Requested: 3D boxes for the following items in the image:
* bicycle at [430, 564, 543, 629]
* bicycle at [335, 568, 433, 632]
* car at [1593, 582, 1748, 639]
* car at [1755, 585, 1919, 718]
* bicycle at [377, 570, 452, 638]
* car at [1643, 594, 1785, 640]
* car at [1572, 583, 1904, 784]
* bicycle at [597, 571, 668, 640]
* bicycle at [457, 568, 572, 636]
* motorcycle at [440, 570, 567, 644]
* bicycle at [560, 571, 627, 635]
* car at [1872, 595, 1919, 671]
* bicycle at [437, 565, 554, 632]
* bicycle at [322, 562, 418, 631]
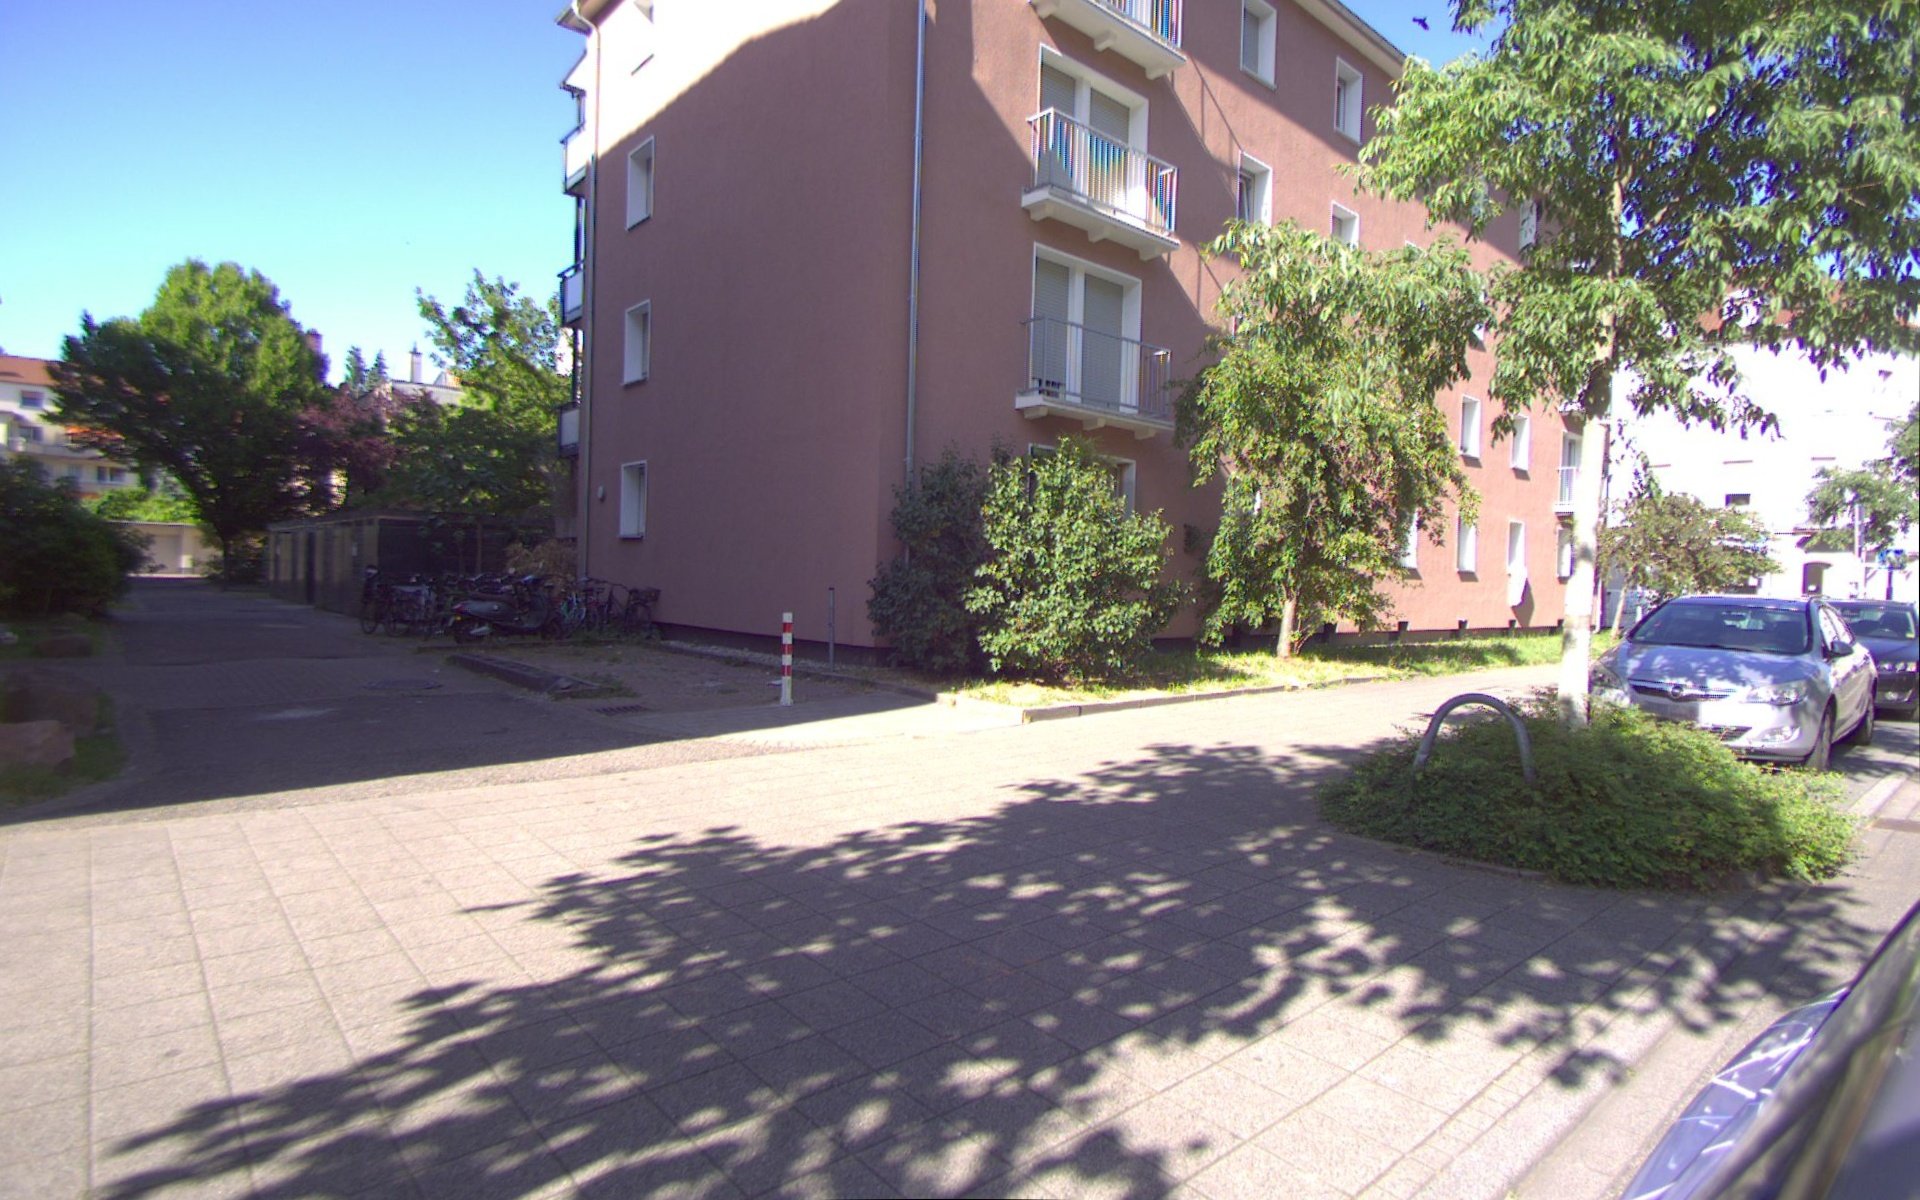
[{"bbox_3d":[-8.934,-0.068,19.152,1.847,1.166,0.578,0,1,-40],"label":"bicycle"},{"bbox_3d":[-10.351,-0.009,18.219,1.453,1.112,0.557,0,1,-40],"label":"bicycle"},{"bbox_3d":[28.102,0.357,40.126,1.968,2.039,4.745,0,1,-45],"label":"car"},{"bbox_3d":[12.229,0.599,13.578,4.236,1.500,1.661,0,1,-41],"label":"car"},{"bbox_3d":[-9.406,0.048,17.436,1.712,1.112,0.549,2,1,41],"label":"bicycle"},{"bbox_3d":[25.861,0.549,34.781,1.540,1.419,3.646,1,1,-41],"label":"car"},{"bbox_3d":[7.498,0.610,9.625,3.930,1.471,1.719,-1,3,-41],"label":"car"},{"bbox_3d":[-5.648,0.077,17.405,0.584,1.112,1.538,1,1,-42],"label":"bicycle"},{"bbox_3d":[-7.763,0.030,17.665,1.740,1.120,0.567,0,1,-40],"label":"bicycle"},{"bbox_3d":[-7.224,0.105,16.064,1.740,1.120,0.526,0,1,-40],"label":"motorcycle"},{"bbox_3d":[-6.776,0.037,18.654,0.548,1.112,1.717,1,2,-42],"label":"bicycle"},{"bbox_3d":[19.985,0.658,20.511,3.929,1.446,1.735,0,1,-41],"label":"car"},{"bbox_3d":[-8.447,-0.025,18.442,1.847,1.166,0.578,0,1,-40],"label":"bicycle"},{"bbox_3d":[-10.818,-0.068,18.581,1.453,1.221,0.557,0,1,-40],"label":"bicycle"}]
